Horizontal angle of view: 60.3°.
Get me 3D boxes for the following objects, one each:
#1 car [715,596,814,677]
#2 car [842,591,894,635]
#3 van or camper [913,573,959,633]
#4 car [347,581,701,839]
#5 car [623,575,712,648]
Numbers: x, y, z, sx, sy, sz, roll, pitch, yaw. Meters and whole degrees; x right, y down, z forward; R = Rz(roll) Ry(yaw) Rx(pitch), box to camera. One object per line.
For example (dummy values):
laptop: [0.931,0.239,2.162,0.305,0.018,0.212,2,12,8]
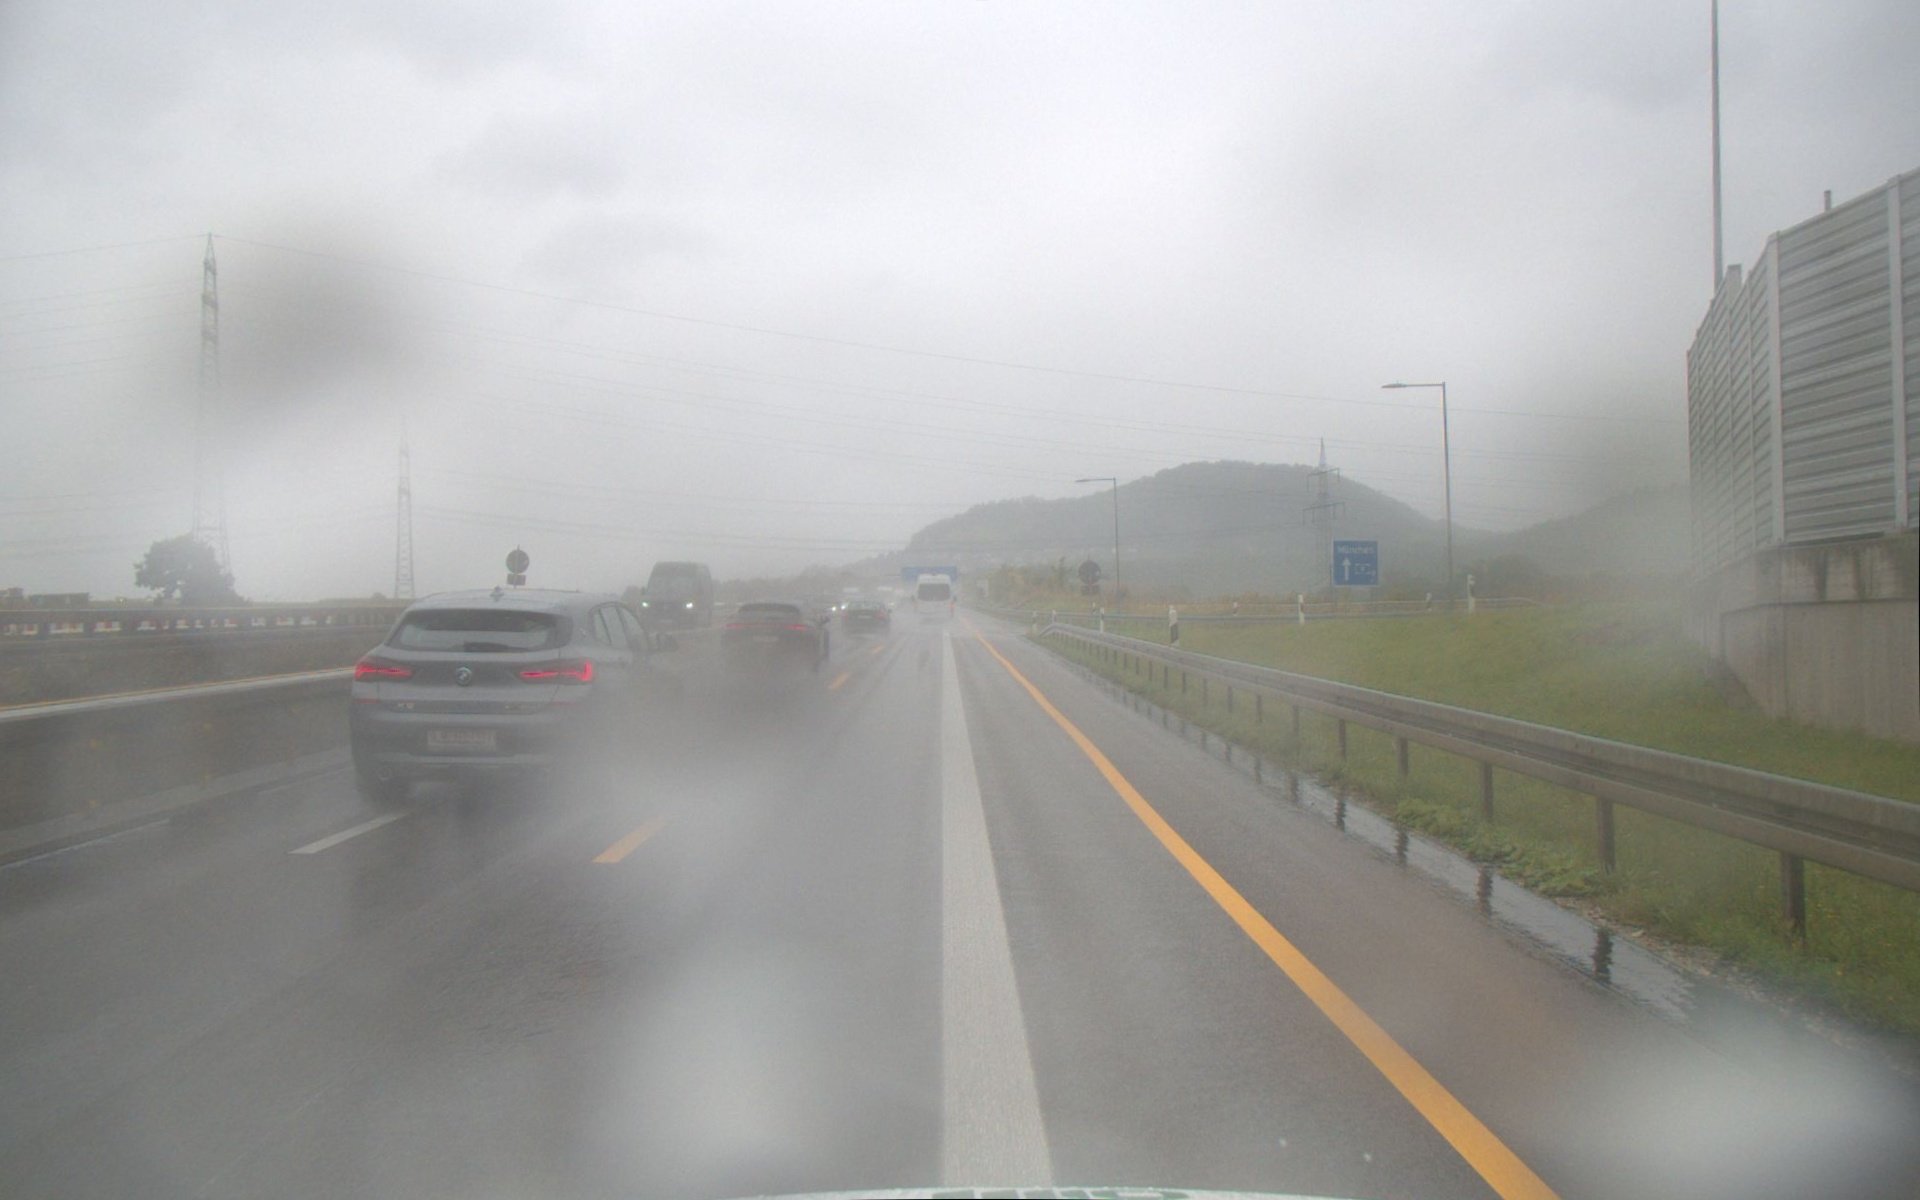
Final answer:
car: [-3.882,0.746,33.421,1.808,1.517,4.257,0,-1,-5]
car: [-3.473,0.472,62.065,1.808,1.517,4.258,-2,0,-4]
van or camper: [-1.215,0.177,81.149,1.957,2.826,4.045,0,-1,-5]
car: [-3.138,0.755,12.917,1.667,1.626,4.842,0,-1,-3]
car: [-10.887,0.428,62.017,2.027,2.561,6.177,-1,0,1]
